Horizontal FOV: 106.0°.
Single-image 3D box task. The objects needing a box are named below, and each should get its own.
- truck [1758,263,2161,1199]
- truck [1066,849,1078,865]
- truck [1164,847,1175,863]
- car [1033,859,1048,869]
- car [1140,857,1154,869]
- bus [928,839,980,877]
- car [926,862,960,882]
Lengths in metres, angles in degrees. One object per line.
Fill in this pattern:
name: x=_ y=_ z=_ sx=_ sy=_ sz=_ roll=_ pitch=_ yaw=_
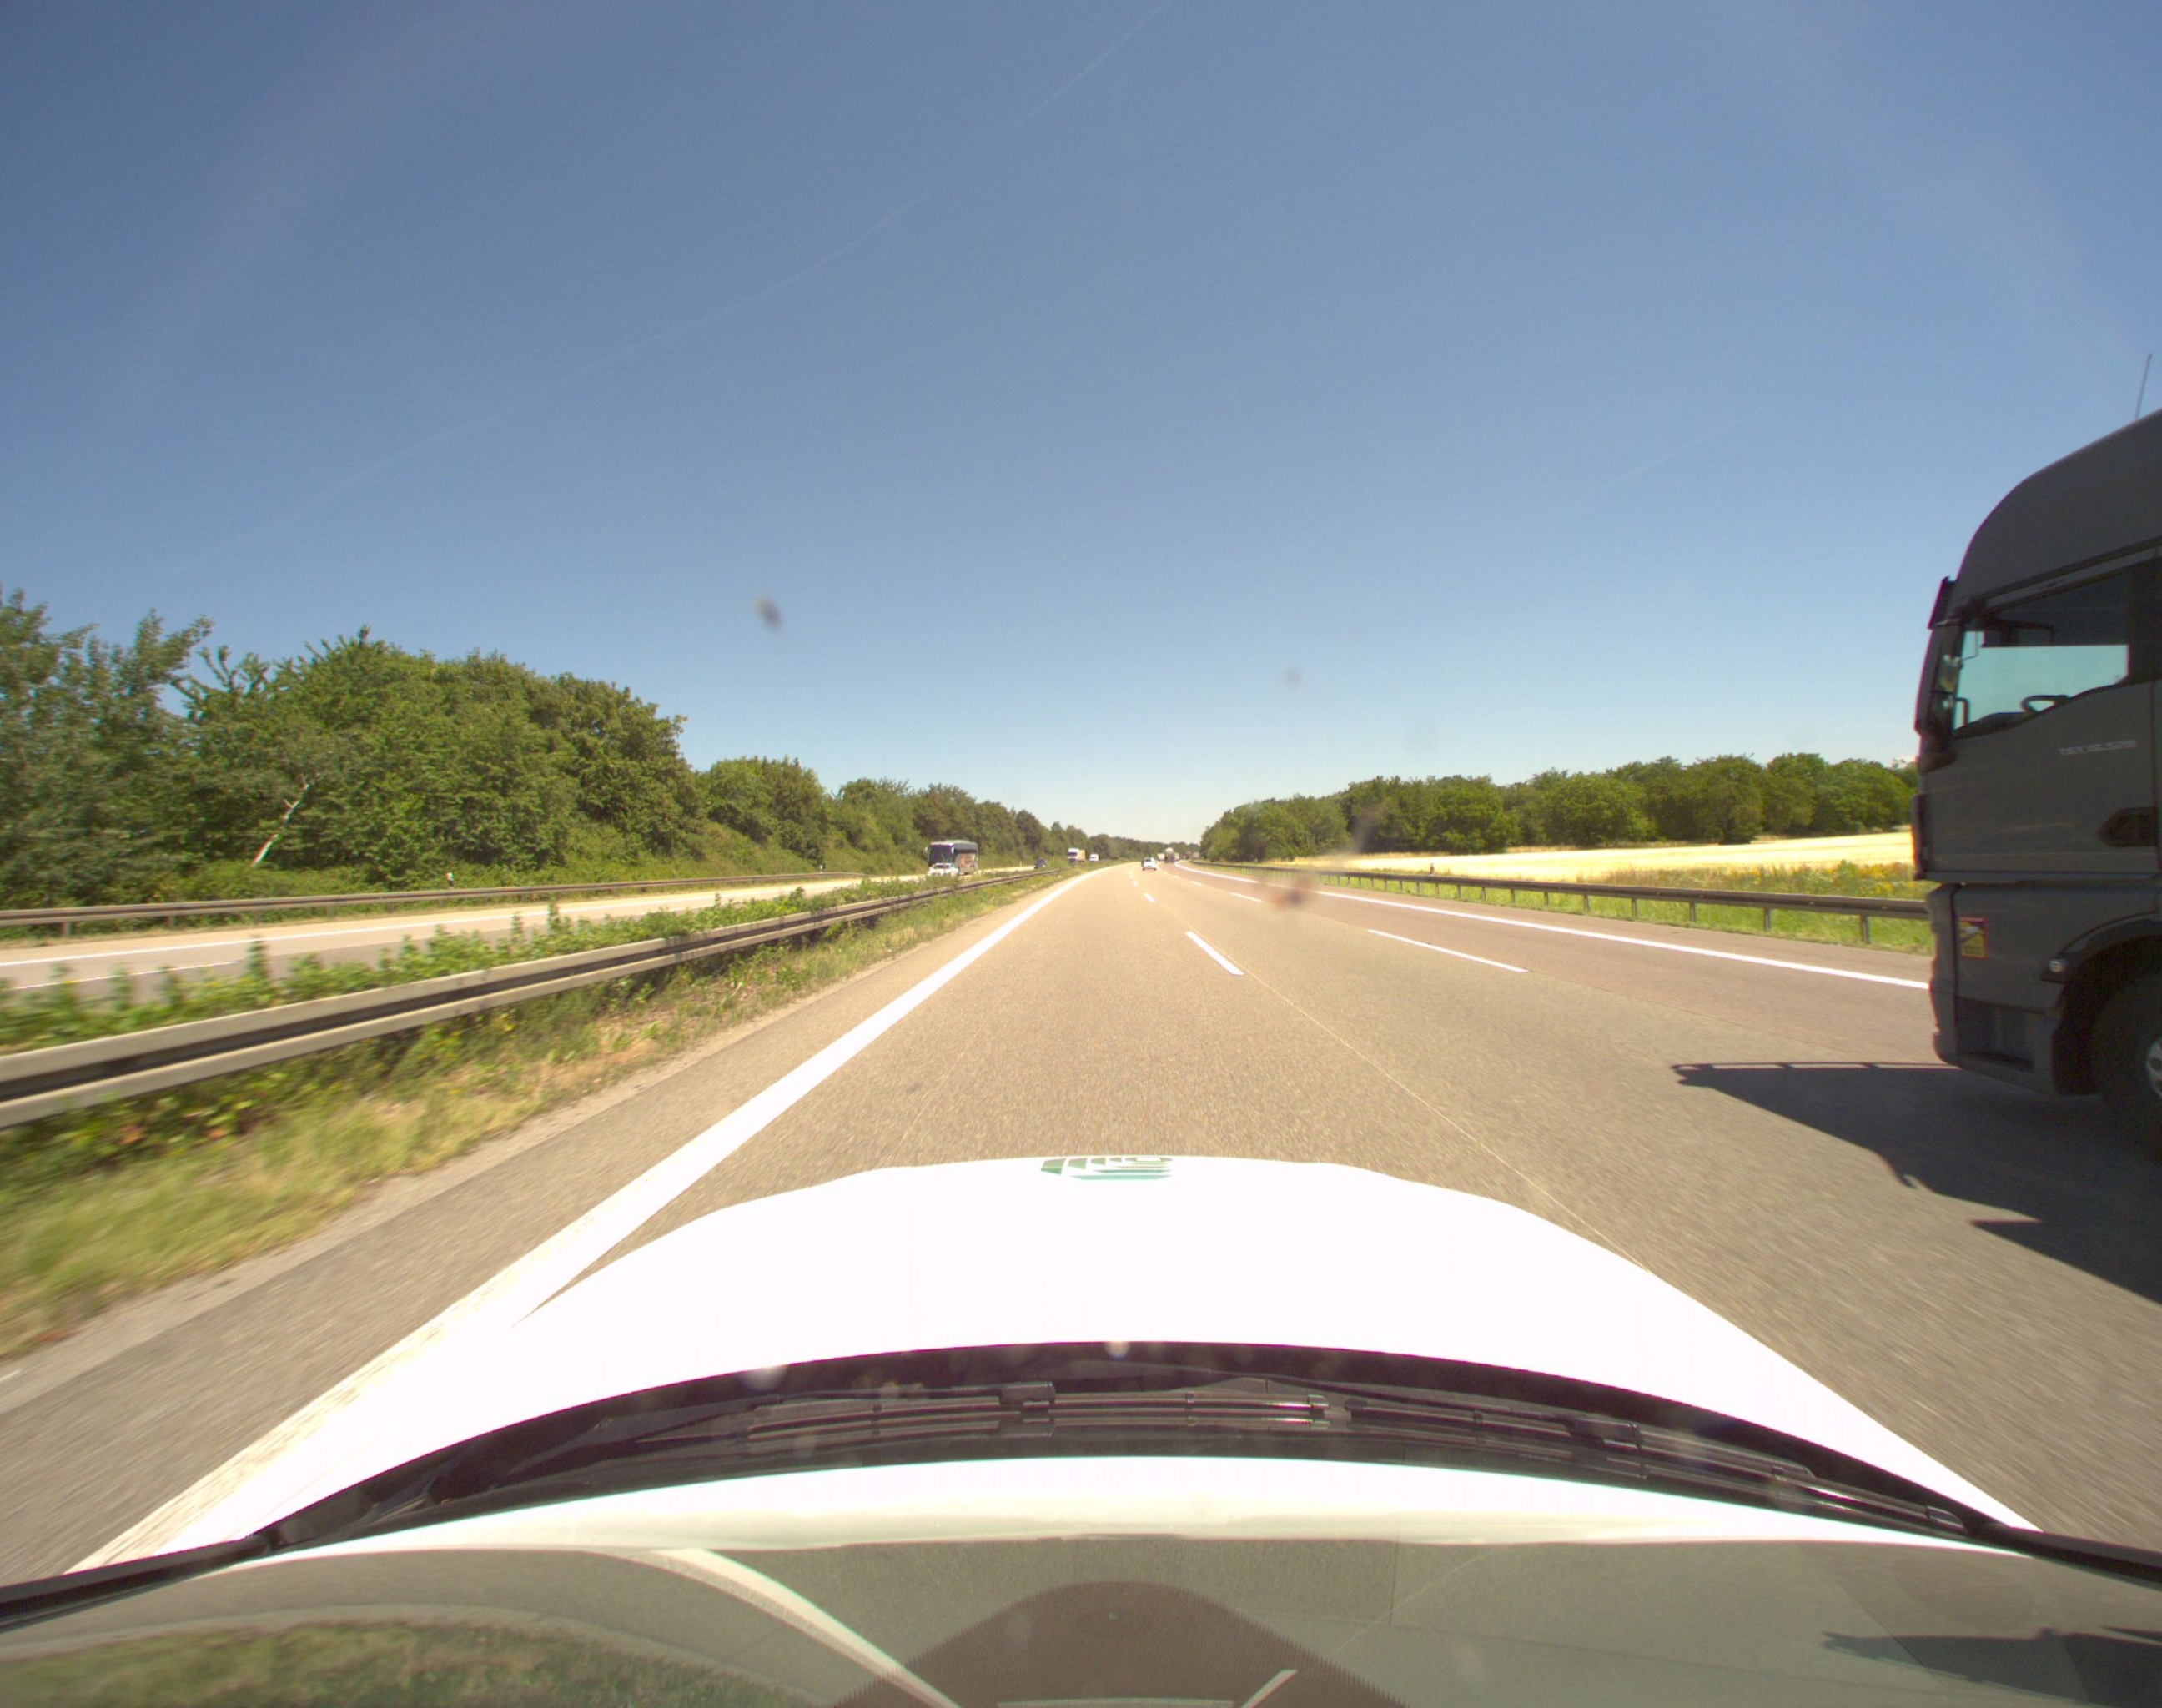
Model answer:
truck: x=6.359 y=-0.564 z=3.470 sx=2.896 sy=4.256 sz=4.978 roll=-1 pitch=-1 yaw=3
truck: x=-2.269 y=0.732 z=212.691 sx=2.690 sy=3.965 sz=4.447 roll=-2 pitch=-1 yaw=3
truck: x=23.834 y=0.350 z=219.627 sx=2.726 sy=4.052 sz=10.469 roll=-1 pitch=-1 yaw=5
car: x=-6.489 y=1.562 z=131.007 sx=1.818 sy=1.632 sz=4.562 roll=-1 pitch=0 yaw=3
car: x=8.311 y=1.144 z=102.071 sx=1.620 sy=1.479 sz=4.005 roll=-1 pitch=-1 yaw=5
bus: x=-13.223 y=0.436 z=85.958 sx=2.730 sy=3.708 sz=13.009 roll=0 pitch=0 yaw=3
car: x=-10.986 y=1.416 z=64.963 sx=1.760 sy=1.514 sz=4.334 roll=0 pitch=0 yaw=3
